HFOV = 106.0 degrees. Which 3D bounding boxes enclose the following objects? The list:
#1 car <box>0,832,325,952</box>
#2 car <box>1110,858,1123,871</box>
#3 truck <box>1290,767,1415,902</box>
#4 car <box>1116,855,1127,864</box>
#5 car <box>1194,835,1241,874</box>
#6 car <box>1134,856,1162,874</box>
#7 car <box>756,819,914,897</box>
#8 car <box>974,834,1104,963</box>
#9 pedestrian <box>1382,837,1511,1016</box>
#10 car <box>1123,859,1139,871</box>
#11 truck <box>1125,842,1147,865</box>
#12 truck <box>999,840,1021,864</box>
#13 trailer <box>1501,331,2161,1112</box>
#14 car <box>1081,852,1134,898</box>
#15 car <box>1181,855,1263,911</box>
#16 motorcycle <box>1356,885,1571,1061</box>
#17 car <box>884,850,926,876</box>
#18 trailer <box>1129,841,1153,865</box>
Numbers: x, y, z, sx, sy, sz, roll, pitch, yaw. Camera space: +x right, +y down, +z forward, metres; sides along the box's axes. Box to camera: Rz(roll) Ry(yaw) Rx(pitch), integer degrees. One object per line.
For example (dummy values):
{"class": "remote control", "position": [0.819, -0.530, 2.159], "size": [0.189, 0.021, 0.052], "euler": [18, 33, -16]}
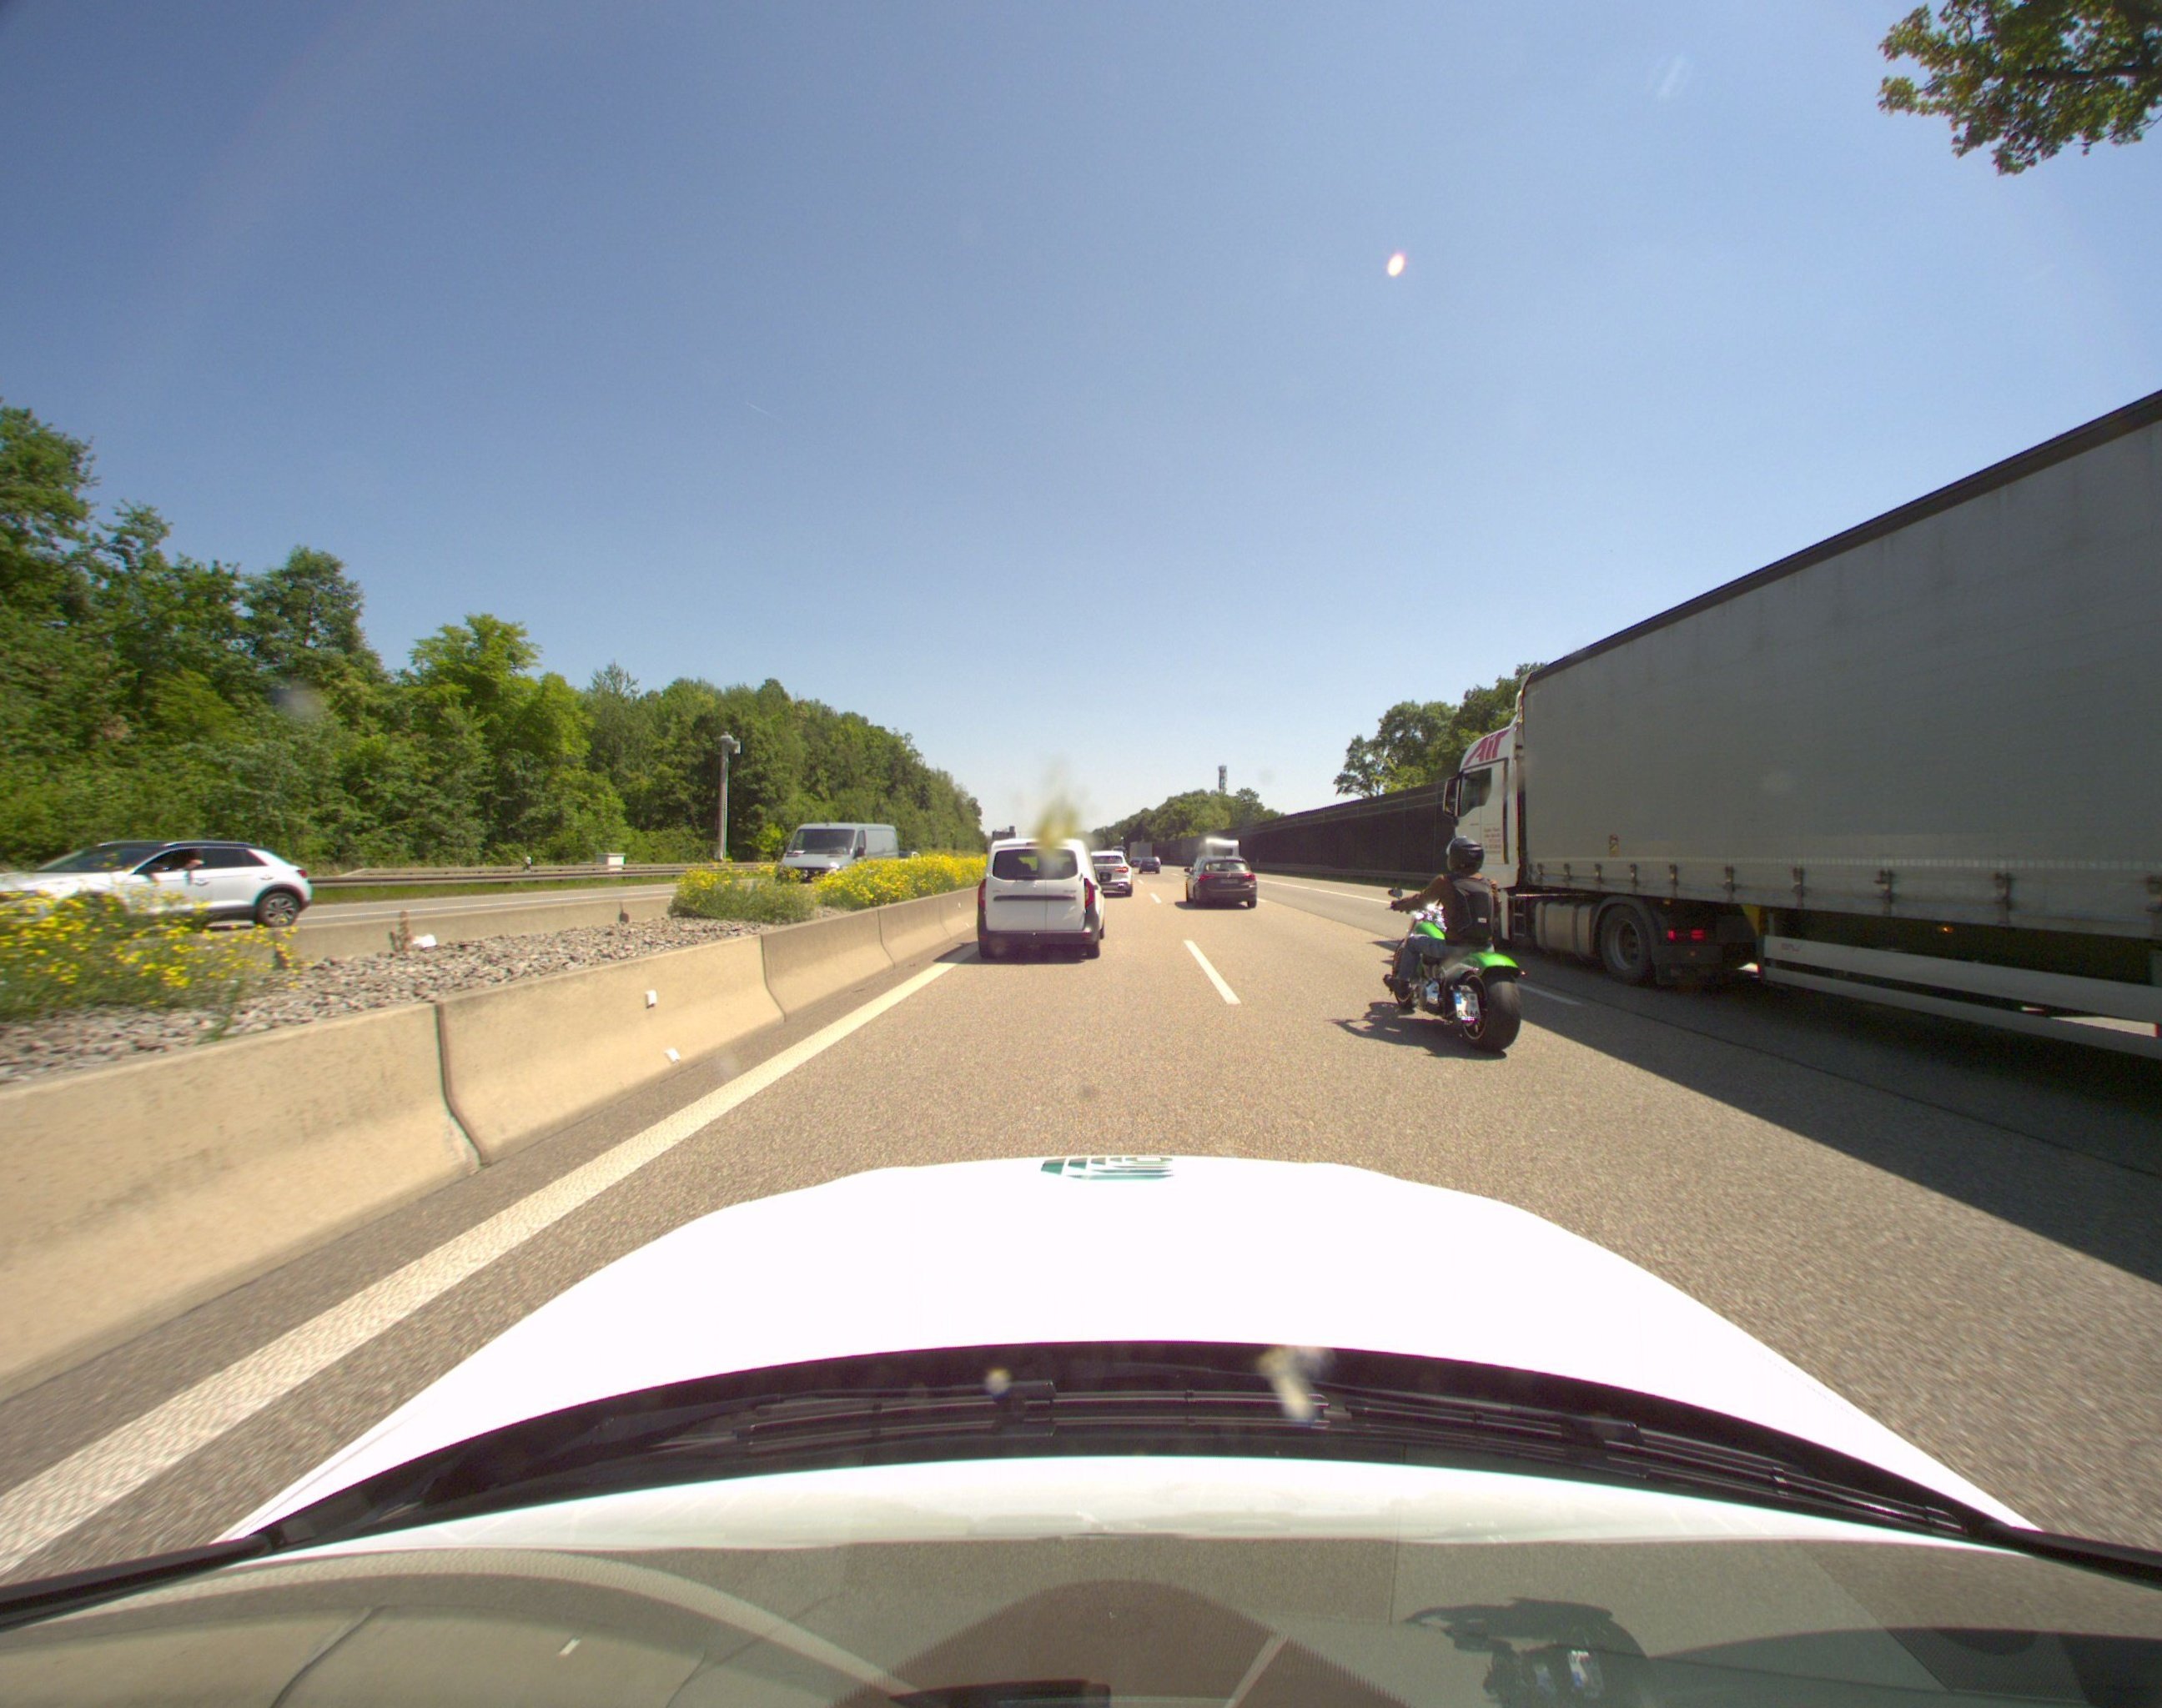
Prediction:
{"class": "car", "position": [-15.094, 0.541, 13.176], "size": [1.769, 1.629, 4.120], "euler": [0, -1, 2]}
{"class": "car", "position": [5.937, 1.720, 135.657], "size": [1.820, 1.989, 3.996], "euler": [-1, 0, -3]}
{"class": "truck", "position": [8.933, -0.553, 27.418], "size": [2.587, 4.090, 5.556], "euler": [0, -1, 3]}
{"class": "car", "position": [9.308, 1.201, 188.199], "size": [1.992, 2.014, 3.990], "euler": [0, -1, -7]}
{"class": "car", "position": [9.972, 0.072, 60.029], "size": [2.470, 2.766, 6.220], "euler": [0, -1, 1]}
{"class": "car", "position": [5.567, 0.901, 67.858], "size": [1.820, 1.424, 3.996], "euler": [0, -1, -3]}
{"class": "car", "position": [-7.009, 0.124, 24.172], "size": [2.311, 2.014, 6.192], "euler": [0, 0, 5]}
{"class": "car", "position": [-0.541, 0.644, 13.457], "size": [1.795, 1.808, 4.001], "euler": [0, -1, 2]}
{"class": "pedestrian", "position": [3.148, 0.601, 7.075], "size": [0.848, 1.479, 0.638], "euler": [0, 0, 1]}
{"class": "car", "position": [6.059, 1.293, 99.427], "size": [1.817, 1.424, 4.001], "euler": [0, -1, 1]}
{"class": "truck", "position": [9.994, -0.029, 149.193], "size": [3.074, 3.986, 9.636], "euler": [0, -1, -3]}
{"class": "truck", "position": [-11.827, -0.323, 136.165], "size": [2.738, 3.857, 8.416], "euler": [0, 0, 2]}
{"class": "trailer", "position": [6.982, -0.691, 4.756], "size": [2.588, 4.090, 13.599], "euler": [0, -1, 3]}
{"class": "car", "position": [0.997, 0.753, 30.712], "size": [1.864, 1.608, 3.880], "euler": [0, 0, 2]}
{"class": "car", "position": [4.116, 0.784, 24.369], "size": [1.831, 1.513, 4.403], "euler": [0, 0, 2]}
{"class": "motorcycle", "position": [3.147, 0.900, 7.027], "size": [0.856, 1.182, 2.277], "euler": [0, 0, 2]}
{"class": "car", "position": [-12.212, 0.597, 56.813], "size": [1.875, 1.765, 4.324], "euler": [0, 0, 2]}
{"class": "trailer", "position": [10.345, -0.111, 141.741], "size": [3.074, 3.986, 10.312], "euler": [0, -1, -2]}
